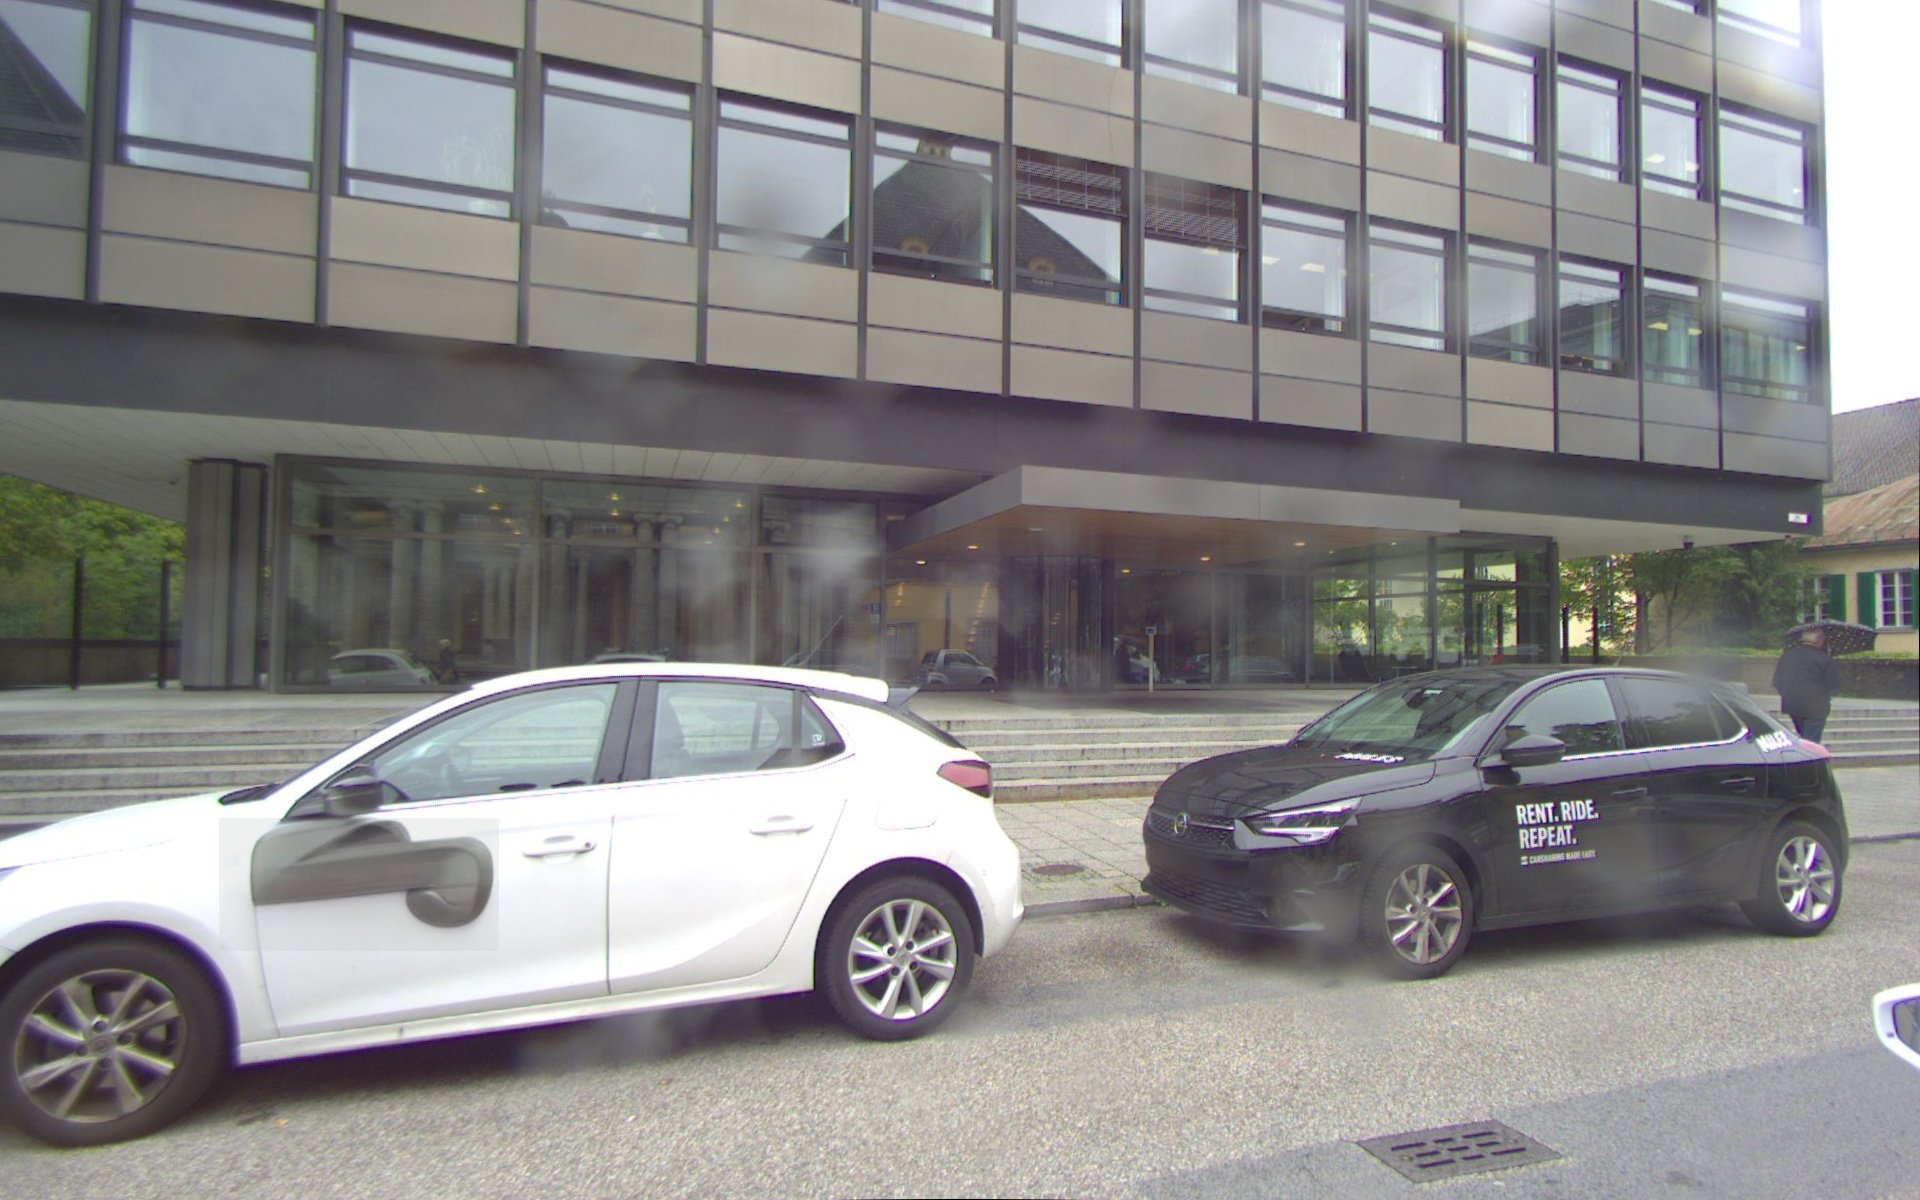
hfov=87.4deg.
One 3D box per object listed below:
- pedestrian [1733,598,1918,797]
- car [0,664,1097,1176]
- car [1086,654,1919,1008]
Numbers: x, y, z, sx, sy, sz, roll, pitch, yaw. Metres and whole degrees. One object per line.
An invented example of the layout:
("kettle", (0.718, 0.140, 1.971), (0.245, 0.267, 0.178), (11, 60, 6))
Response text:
("pedestrian", (9.703, 1.046, 11.297), (1.202, 2.082, 1.134), (1, -1, -20))
("car", (-1.711, 1.027, 4.165), (4.212, 1.458, 1.681), (1, -6, -19))
("car", (2.993, 1.085, 5.728), (4.169, 1.479, 1.740), (1, -5, -18))
